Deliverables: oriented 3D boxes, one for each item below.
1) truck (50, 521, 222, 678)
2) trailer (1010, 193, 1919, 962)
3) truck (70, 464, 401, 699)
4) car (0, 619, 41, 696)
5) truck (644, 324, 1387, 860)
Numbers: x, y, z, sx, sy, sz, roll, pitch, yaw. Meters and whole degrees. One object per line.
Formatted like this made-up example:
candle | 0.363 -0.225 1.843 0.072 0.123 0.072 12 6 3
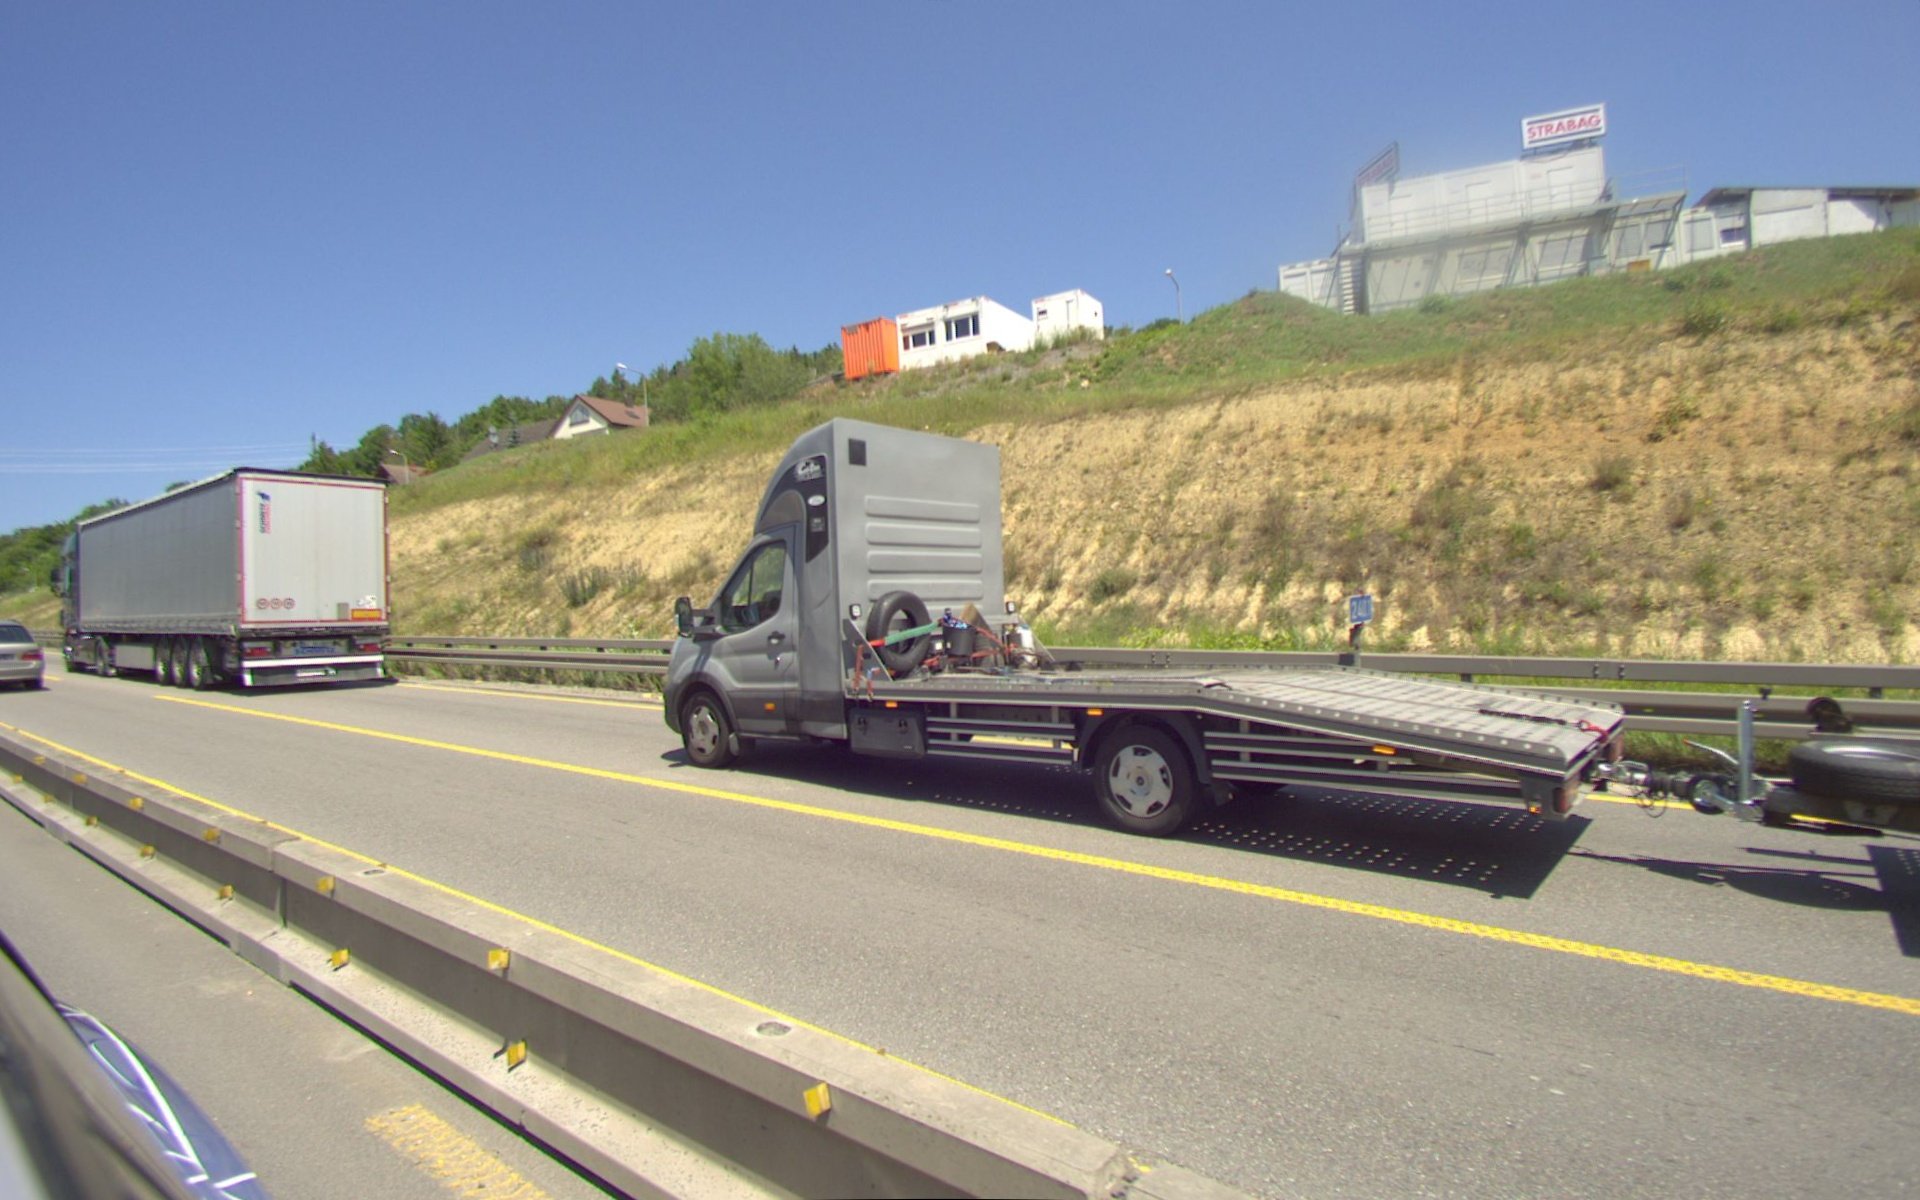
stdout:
truck | -22.794 0.018 27.941 4.959 3.913 2.740 -1 0 40
trailer | 6.043 -0.132 3.261 13.031 2.904 2.245 -1 0 40
truck | -17.200 -0.211 23.264 13.793 4.118 2.740 -1 0 40
car | -20.692 1.185 21.026 4.192 1.498 1.808 -1 -1 40
truck | 0.076 -0.007 8.239 5.846 2.904 2.245 -1 0 40
